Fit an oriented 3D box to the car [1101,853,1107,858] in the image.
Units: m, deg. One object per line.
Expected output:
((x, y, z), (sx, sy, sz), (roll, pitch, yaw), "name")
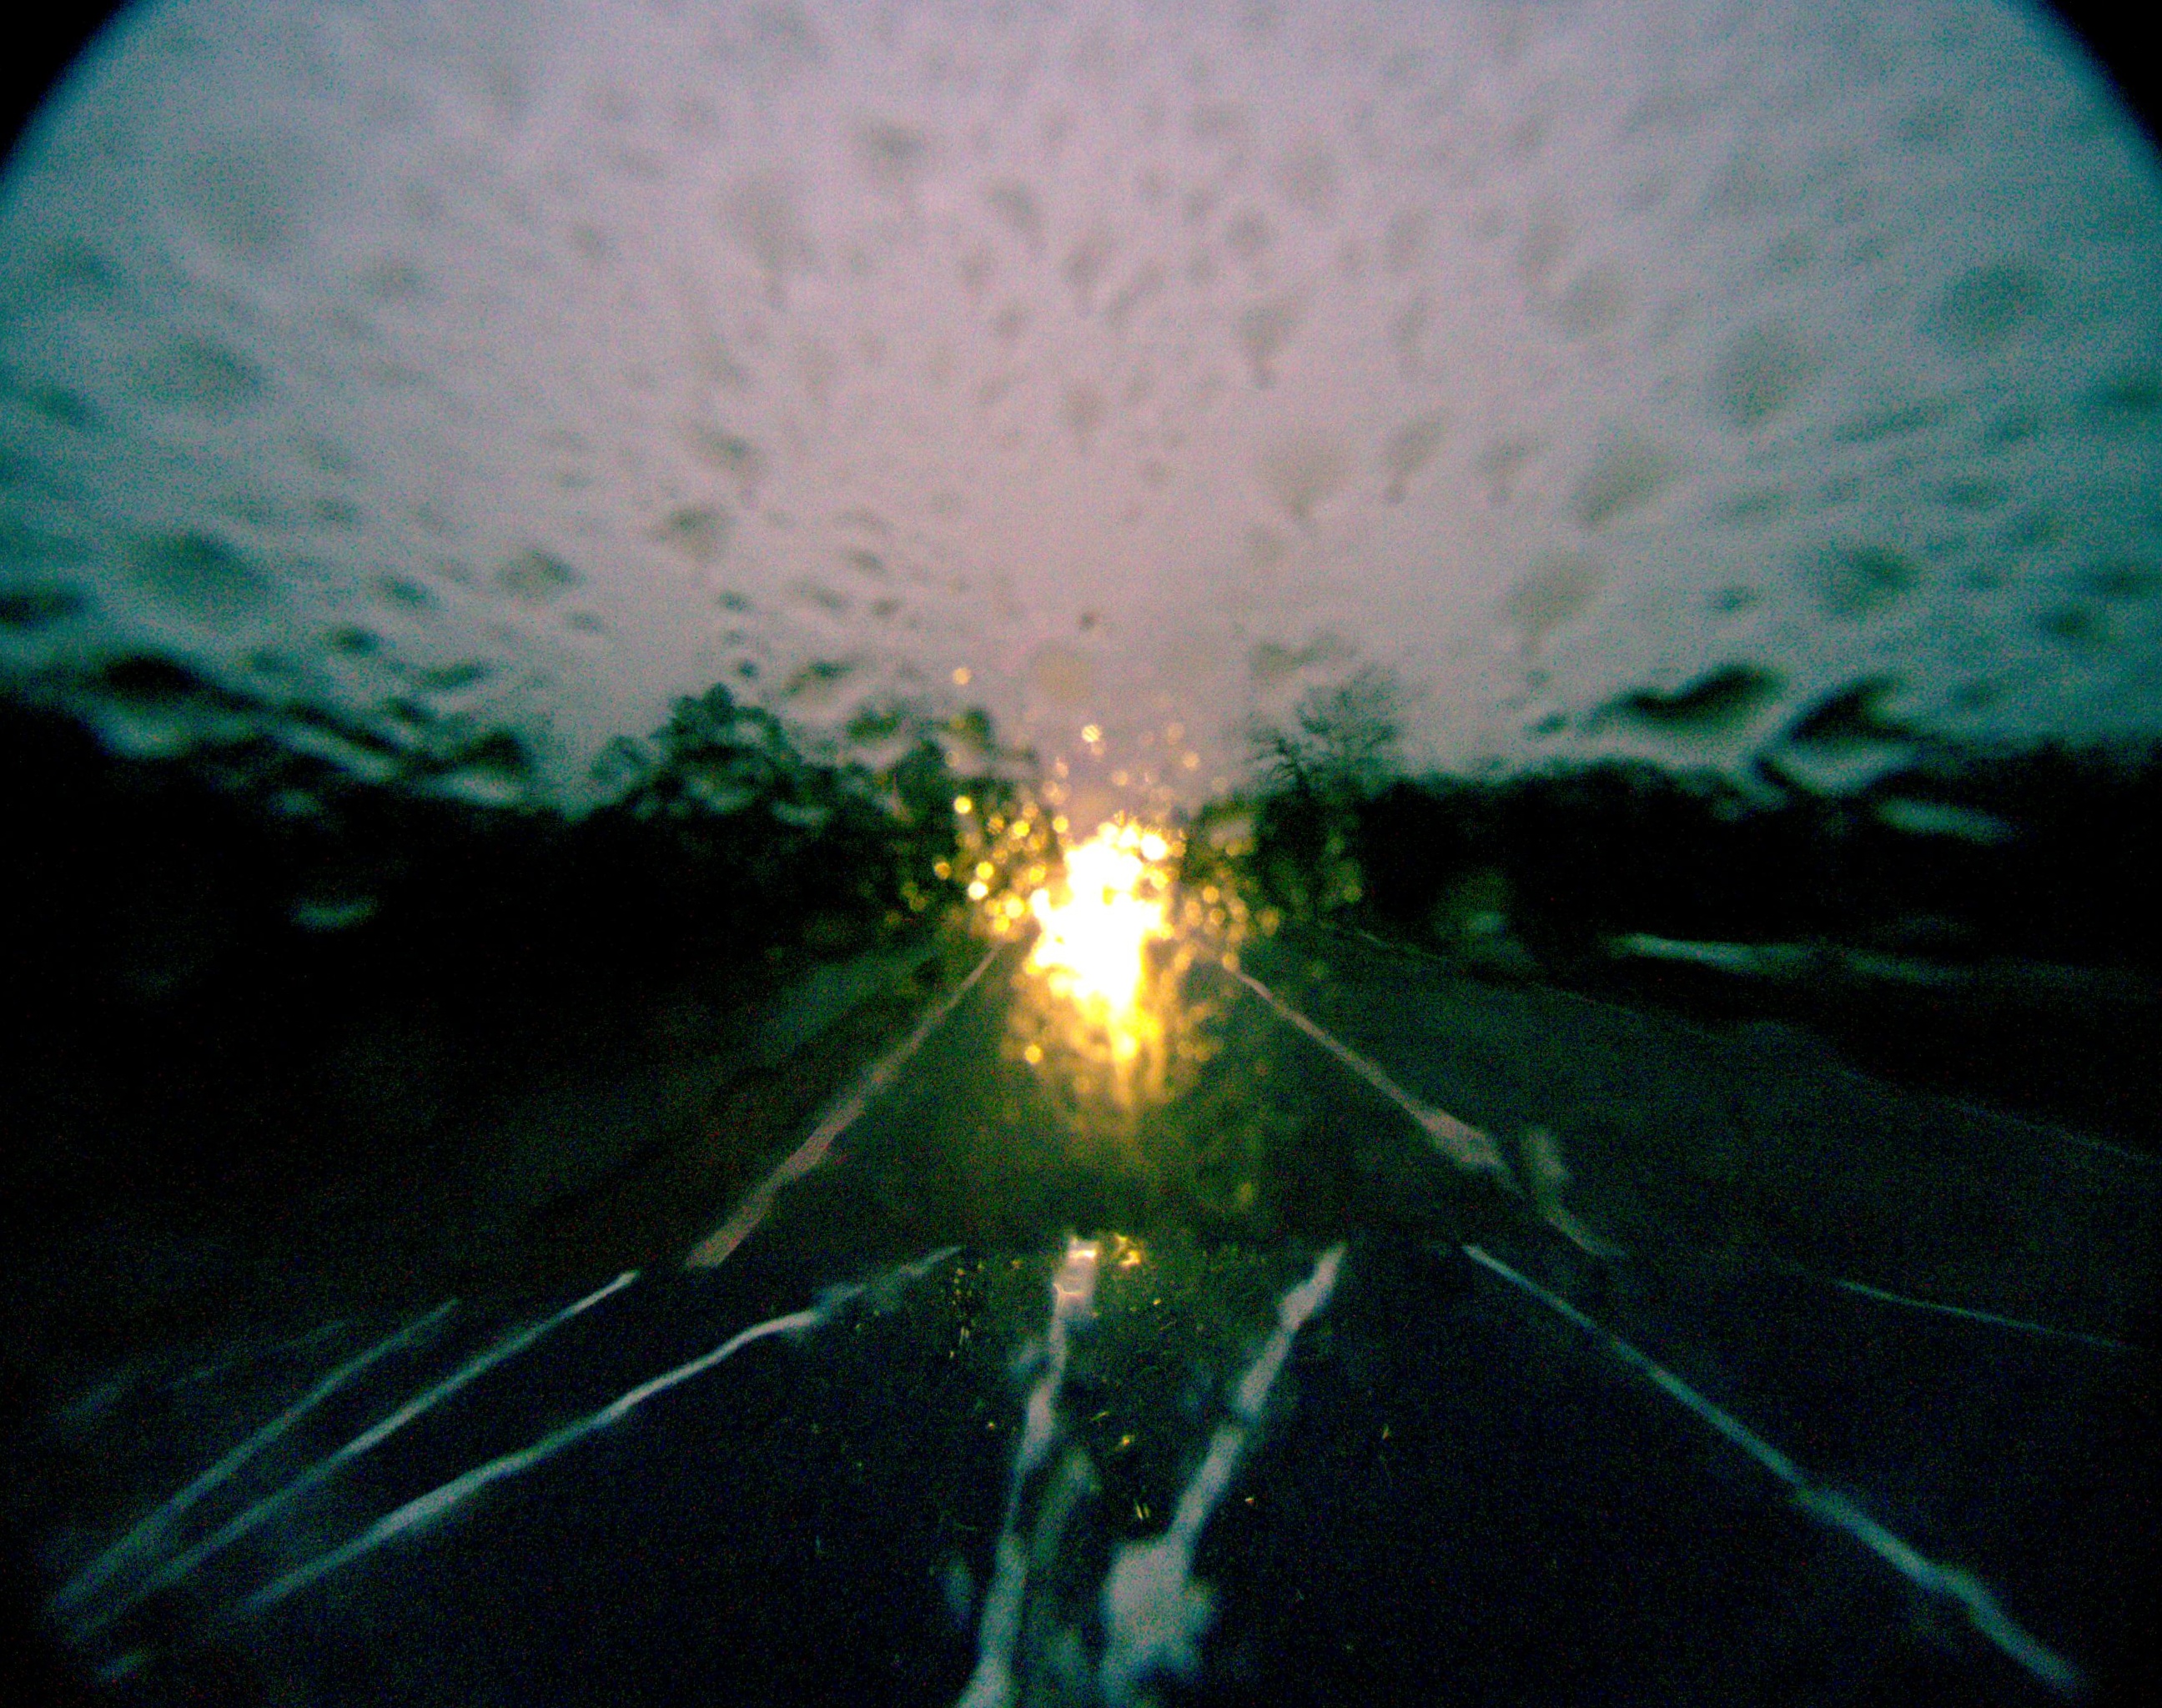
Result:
((6.234, 0.424, 208.090), (1.636, 1.449, 3.982), (1, 0, 0), "car")

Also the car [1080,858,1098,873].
((0.992, 1.368, 90.641), (1.998, 1.612, 4.000), (-2, 1, 1), "car")

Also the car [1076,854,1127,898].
((0.790, 0.829, 30.520), (1.860, 1.604, 4.000), (-1, 0, 1), "car")
